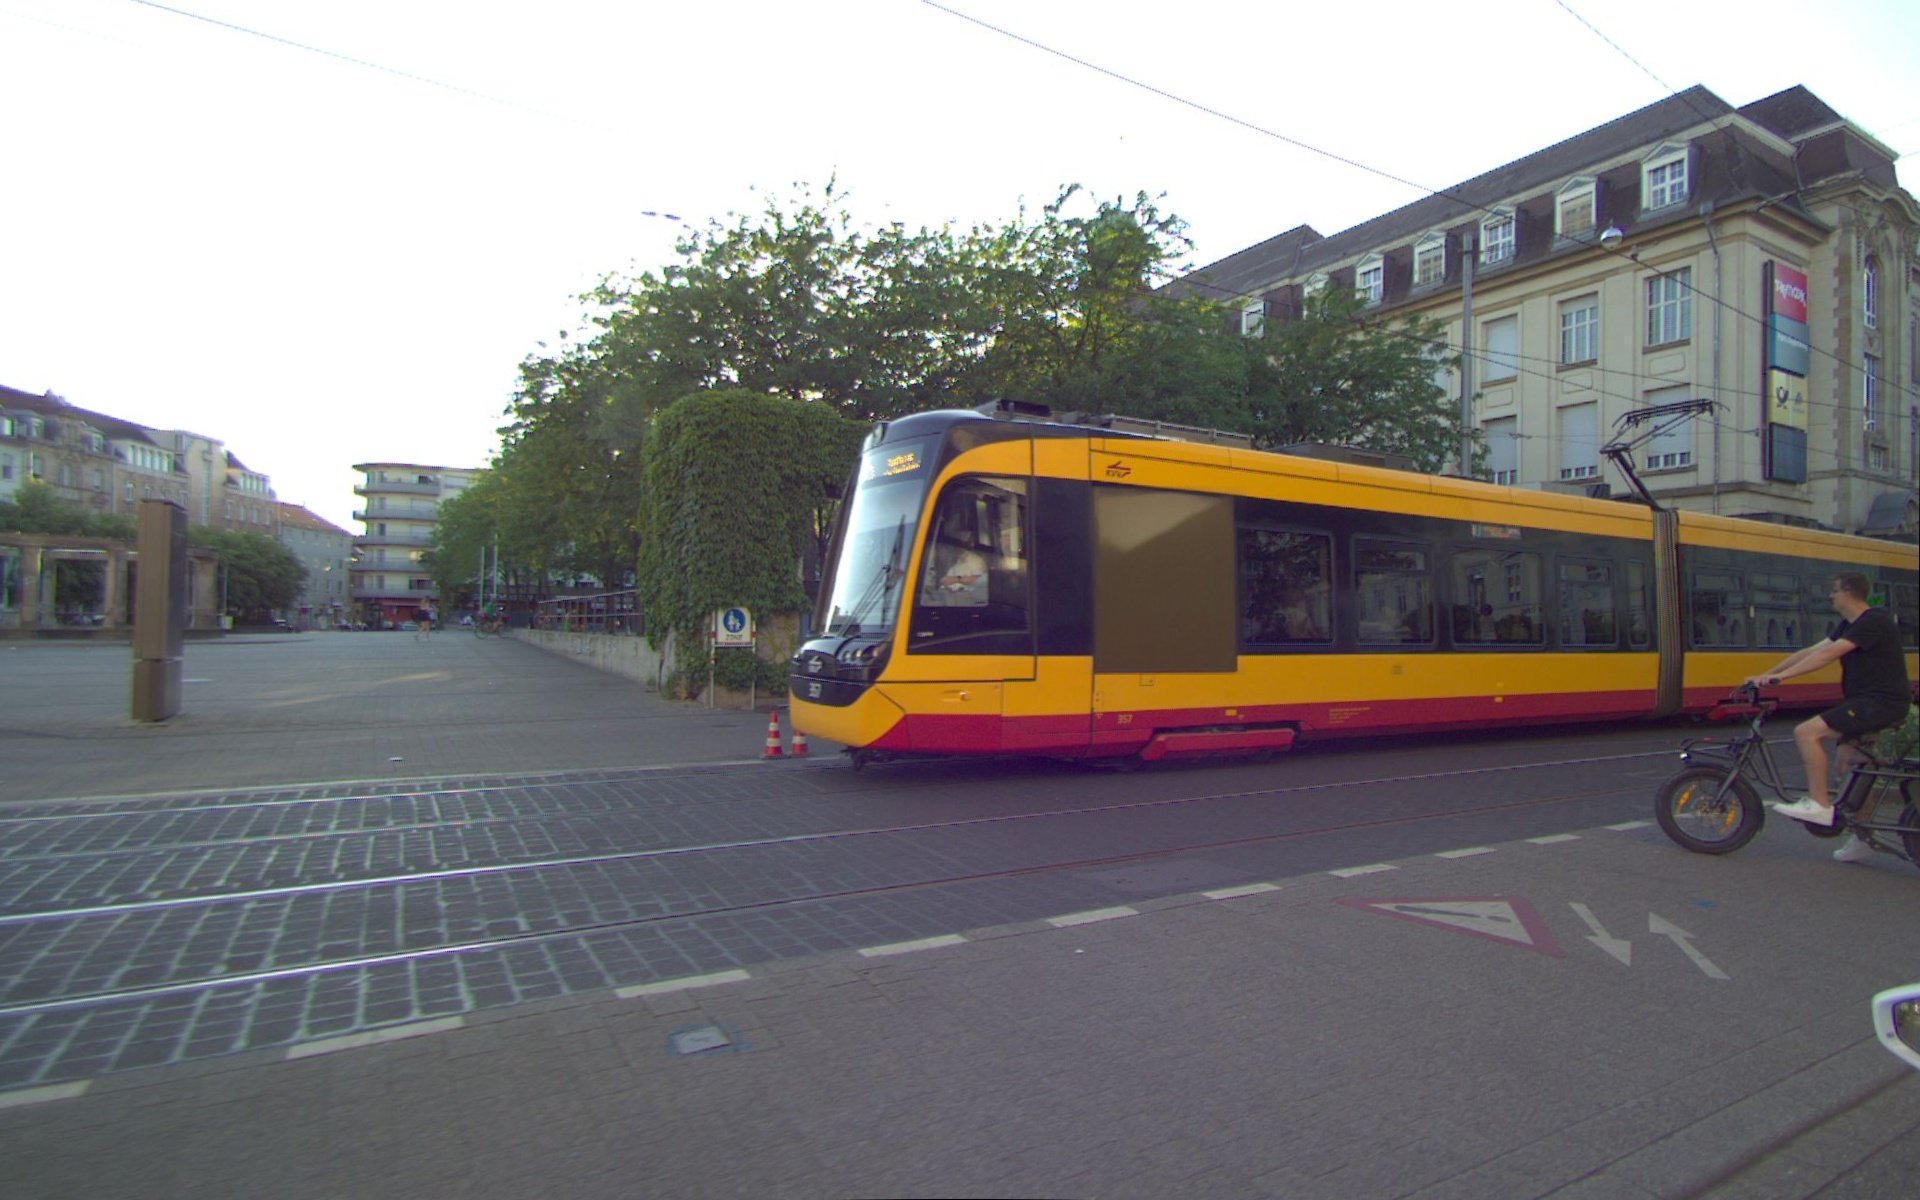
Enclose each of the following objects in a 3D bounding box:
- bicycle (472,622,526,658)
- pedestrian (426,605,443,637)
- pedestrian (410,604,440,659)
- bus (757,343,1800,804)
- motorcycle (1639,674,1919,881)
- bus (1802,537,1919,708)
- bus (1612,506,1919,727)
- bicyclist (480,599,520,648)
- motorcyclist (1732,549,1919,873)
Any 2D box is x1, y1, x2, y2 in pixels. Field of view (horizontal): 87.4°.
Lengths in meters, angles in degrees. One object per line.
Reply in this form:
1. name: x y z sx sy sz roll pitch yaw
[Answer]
1. bicycle: -19.815 1.721 43.209 0.569 1.495 2.247 1 -2 25
2. pedestrian: -29.557 1.194 56.489 0.758 1.801 0.570 2 -1 -39
3. pedestrian: -20.824 1.226 39.086 0.922 2.088 0.931 1 -1 -35
4. bus: 5.869 0.037 13.530 16.871 3.699 2.809 2 -2 -30
5. motorcycle: 5.465 1.078 6.269 2.016 1.138 0.567 1 -3 34
6. bus: 25.236 0.746 25.008 11.685 3.659 2.809 3 -2 -30
7. bus: 16.646 0.418 19.974 8.192 3.672 2.809 2 -2 -30
8. bicyclist: -19.770 1.012 43.159 1.121 2.044 0.961 1 -3 25
9. motorcyclist: 5.491 0.652 6.264 0.988 1.837 0.957 1 -3 34
